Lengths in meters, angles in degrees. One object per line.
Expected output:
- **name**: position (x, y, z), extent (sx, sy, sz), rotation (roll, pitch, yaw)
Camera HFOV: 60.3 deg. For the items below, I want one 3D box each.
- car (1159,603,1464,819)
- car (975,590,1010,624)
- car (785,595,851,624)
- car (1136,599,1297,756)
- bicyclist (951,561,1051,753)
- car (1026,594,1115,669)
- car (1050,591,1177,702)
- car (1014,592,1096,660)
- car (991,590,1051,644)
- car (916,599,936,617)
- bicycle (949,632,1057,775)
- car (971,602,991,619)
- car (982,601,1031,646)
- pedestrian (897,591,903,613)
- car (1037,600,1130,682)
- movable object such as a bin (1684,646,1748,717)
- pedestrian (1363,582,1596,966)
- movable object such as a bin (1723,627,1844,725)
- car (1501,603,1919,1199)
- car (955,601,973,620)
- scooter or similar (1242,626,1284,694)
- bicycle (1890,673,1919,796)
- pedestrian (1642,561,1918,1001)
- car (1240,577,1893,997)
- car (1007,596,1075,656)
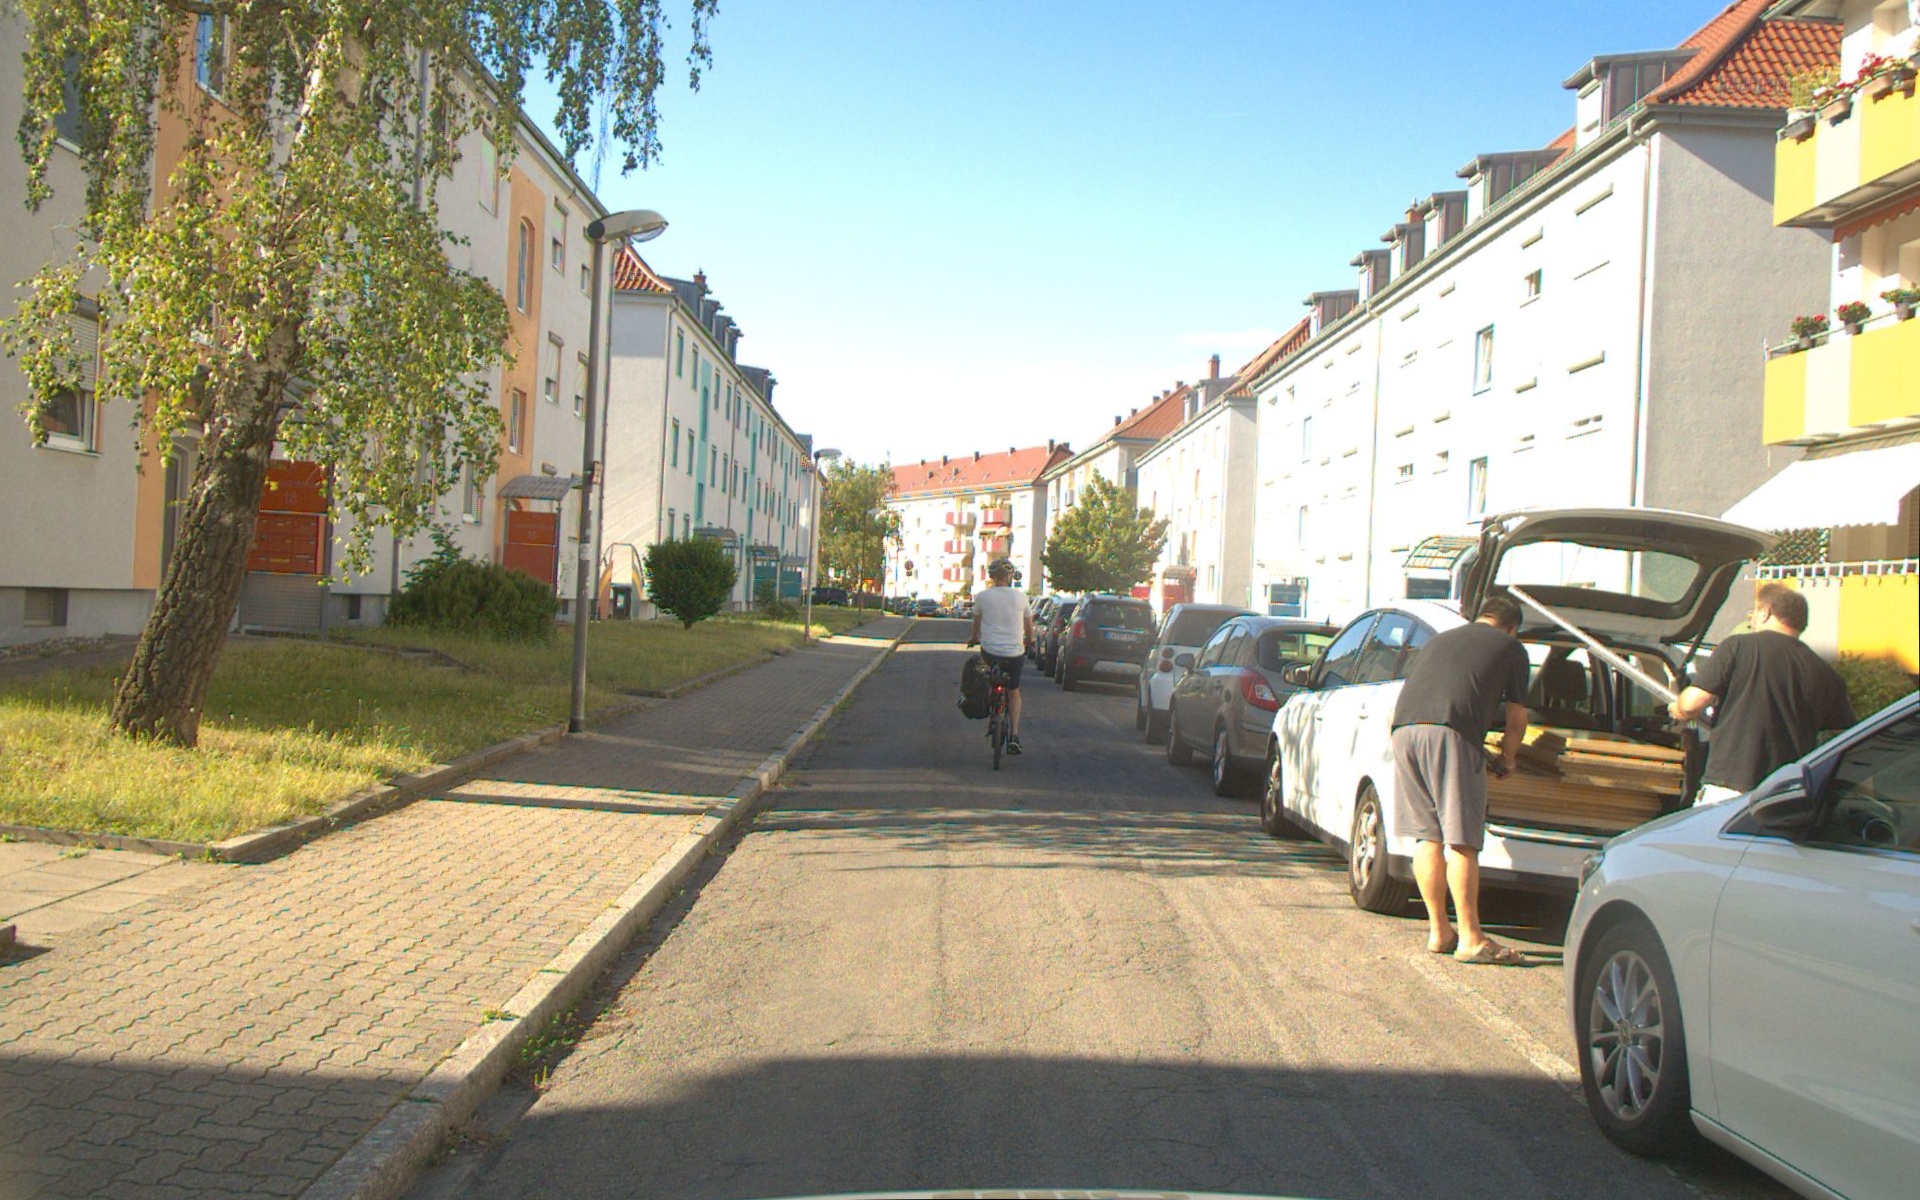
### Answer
- **car**: position (2.946, 0.858, 14.706), extent (1.660, 1.517, 3.983), rotation (5, 0, -2)
- **car**: position (1.803, 0.397, 93.063), extent (1.641, 1.769, 3.941), rotation (4, 0, -3)
- **car**: position (-9.156, 0.581, 106.992), extent (4.149, 1.667, 1.581), rotation (3, 0, -5)
- **car**: position (2.903, 0.834, 19.180), extent (1.449, 1.555, 2.942), rotation (5, 0, 3)
- **bicyclist**: position (0.363, 0.505, 15.095), extent (0.792, 1.672, 0.898), rotation (2, 0, -3)
- **car**: position (2.621, 0.710, 40.057), extent (1.656, 1.602, 4.433), rotation (4, 0, -2)
- **car**: position (2.643, 0.762, 29.353), extent (1.747, 1.676, 4.468), rotation (4, 0, 0)
- **car**: position (2.592, 0.676, 46.109), extent (1.716, 1.645, 4.450), rotation (5, 0, -3)
- **car**: position (2.138, 0.596, 58.838), extent (1.824, 1.697, 4.126), rotation (5, 0, -1)
- **car**: position (-2.631, 0.595, 126.201), extent (1.440, 1.358, 3.139), rotation (1, 0, -3)
- **bicycle**: position (0.361, 0.902, 15.072), extent (0.792, 1.148, 2.100), rotation (2, 0, -3)
- **car**: position (1.708, 0.864, 135.680), extent (1.440, 1.358, 3.139), rotation (1, 0, -3)
- **car**: position (1.915, 0.963, 69.550), extent (1.667, 1.699, 4.378), rotation (4, 0, -2)
- **pedestrian**: position (-4.447, 0.153, 122.243), extent (0.425, 1.602, 0.543), rotation (1, 0, -1)
- **car**: position (2.512, 0.795, 34.448), extent (1.608, 1.524, 4.156), rotation (3, 0, 0)
- **movable object such as a bin**: position (11.582, 1.247, 25.346), extent (0.629, 1.053, 0.757), rotation (1, -2, 0)
- **pedestrian**: position (2.300, 0.735, 7.419), extent (0.724, 1.602, 0.879), rotation (1, 0, -1)
- **movable object such as a bin**: position (12.562, 1.151, 25.281), extent (1.301, 1.431, 1.106), rotation (1, -2, 0)
- **car**: position (2.851, 0.831, 3.461), extent (1.737, 1.531, 4.478), rotation (4, 0, -3)
- **car**: position (0.356, 0.893, 142.347), extent (1.354, 1.523, 3.075), rotation (1, 0, -3)
- **scooter or similar**: position (5.502, 1.082, 30.080), extent (0.474, 1.169, 1.589), rotation (0, 0, 0)
- **bicycle**: position (9.008, 1.251, 14.993), extent (0.395, 1.106, 1.299), rotation (1, 0, 0)
- **pedestrian**: position (3.364, 0.714, 6.833), extent (0.803, 1.717, 0.604), rotation (1, 0, -1)
- **car**: position (3.019, 0.798, 9.587), extent (1.953, 1.640, 4.996), rotation (5, 0, 1)
- **car**: position (2.472, 0.776, 51.314), extent (1.678, 1.623, 4.396), rotation (5, 0, -1)
